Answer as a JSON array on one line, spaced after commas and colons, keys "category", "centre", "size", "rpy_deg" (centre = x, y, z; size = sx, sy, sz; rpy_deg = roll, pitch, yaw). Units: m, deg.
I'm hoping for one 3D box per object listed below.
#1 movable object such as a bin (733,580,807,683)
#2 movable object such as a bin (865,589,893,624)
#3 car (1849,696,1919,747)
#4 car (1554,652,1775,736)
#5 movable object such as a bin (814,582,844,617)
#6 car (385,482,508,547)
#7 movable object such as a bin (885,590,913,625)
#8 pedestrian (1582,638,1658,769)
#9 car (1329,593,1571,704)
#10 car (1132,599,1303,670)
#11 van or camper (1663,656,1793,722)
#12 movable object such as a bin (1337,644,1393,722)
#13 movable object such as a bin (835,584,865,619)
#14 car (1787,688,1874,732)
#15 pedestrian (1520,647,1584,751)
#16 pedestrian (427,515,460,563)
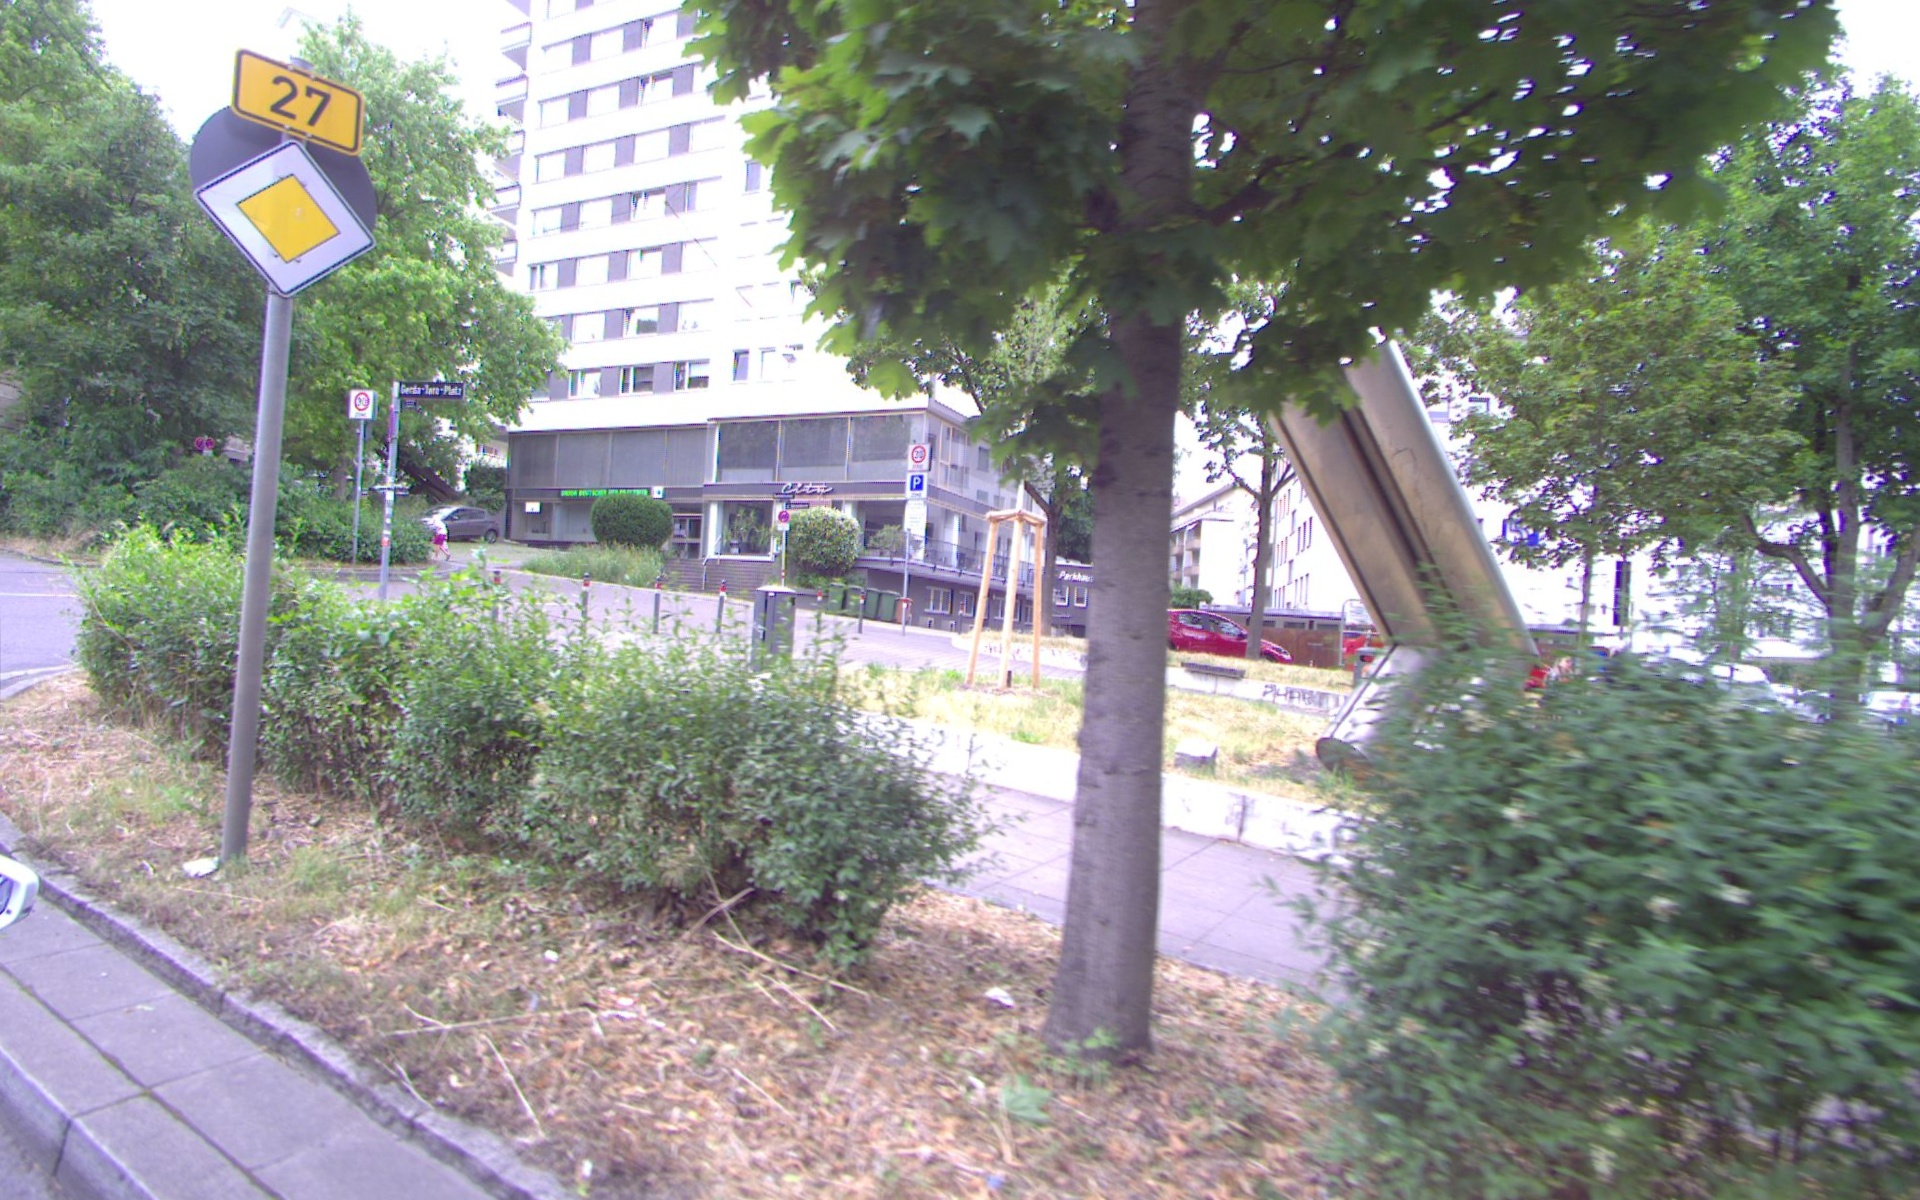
[{"category": "movable object such as a bin", "centre": [-2.207, 0.368, 11.697], "size": [0.556, 1.108, 0.494], "rpy_deg": [7, 2, 32]}, {"category": "movable object such as a bin", "centre": [-2.793, 0.221, 34.760], "size": [0.700, 1.118, 0.824], "rpy_deg": [7, 1, 8]}, {"category": "car", "centre": [40.037, 5.155, 42.552], "size": [1.963, 1.906, 4.471], "rpy_deg": [5, -4, 19]}, {"category": "car", "centre": [17.201, 2.277, 24.719], "size": [4.071, 1.524, 1.756], "rpy_deg": [6, -3, 2]}, {"category": "movable object such as a bin", "centre": [-4.460, -0.009, 34.326], "size": [0.700, 1.118, 0.824], "rpy_deg": [7, 1, 8]}, {"category": "car", "centre": [-21.447, -3.539, 42.216], "size": [1.964, 2.039, 4.139], "rpy_deg": [7, 1, 24]}, {"category": "movable object such as a bin", "centre": [-2.092, 0.270, 34.590], "size": [0.668, 1.118, 0.824], "rpy_deg": [7, 1, 8]}, {"category": "pedestrian", "centre": [8.465, 1.313, 12.920], "size": [0.609, 1.562, 0.549], "rpy_deg": [7, 2, 30]}, {"category": "car", "centre": [12.161, 1.232, 25.236], "size": [4.889, 2.050, 2.032], "rpy_deg": [7, -3, 2]}, {"category": "car", "centre": [6.416, 0.894, 25.368], "size": [3.848, 1.293, 1.622], "rpy_deg": [6, -3, 4]}, {"category": "van or camper", "centre": [31.091, 3.639, 40.969], "size": [2.257, 2.255, 5.451], "rpy_deg": [5, -4, 16]}, {"category": "movable object such as a bin", "centre": [6.095, 1.253, 15.130], "size": [0.599, 1.094, 0.670], "rpy_deg": [5, -3, 32]}, {"category": "movable object such as a bin", "centre": [-3.742, 0.051, 34.329], "size": [0.700, 1.118, 0.824], "rpy_deg": [7, 1, 8]}, {"category": "car", "centre": [41.919, 5.278, 48.533], "size": [1.589, 1.822, 3.672], "rpy_deg": [6, -4, 15]}, {"category": "pedestrian", "centre": [8.145, 1.350, 13.870], "size": [0.609, 1.317, 0.549], "rpy_deg": [7, 2, 30]}, {"category": "pedestrian", "centre": [-17.517, -2.059, 34.118], "size": [0.665, 1.519, 0.559], "rpy_deg": [7, 1, 6]}]
